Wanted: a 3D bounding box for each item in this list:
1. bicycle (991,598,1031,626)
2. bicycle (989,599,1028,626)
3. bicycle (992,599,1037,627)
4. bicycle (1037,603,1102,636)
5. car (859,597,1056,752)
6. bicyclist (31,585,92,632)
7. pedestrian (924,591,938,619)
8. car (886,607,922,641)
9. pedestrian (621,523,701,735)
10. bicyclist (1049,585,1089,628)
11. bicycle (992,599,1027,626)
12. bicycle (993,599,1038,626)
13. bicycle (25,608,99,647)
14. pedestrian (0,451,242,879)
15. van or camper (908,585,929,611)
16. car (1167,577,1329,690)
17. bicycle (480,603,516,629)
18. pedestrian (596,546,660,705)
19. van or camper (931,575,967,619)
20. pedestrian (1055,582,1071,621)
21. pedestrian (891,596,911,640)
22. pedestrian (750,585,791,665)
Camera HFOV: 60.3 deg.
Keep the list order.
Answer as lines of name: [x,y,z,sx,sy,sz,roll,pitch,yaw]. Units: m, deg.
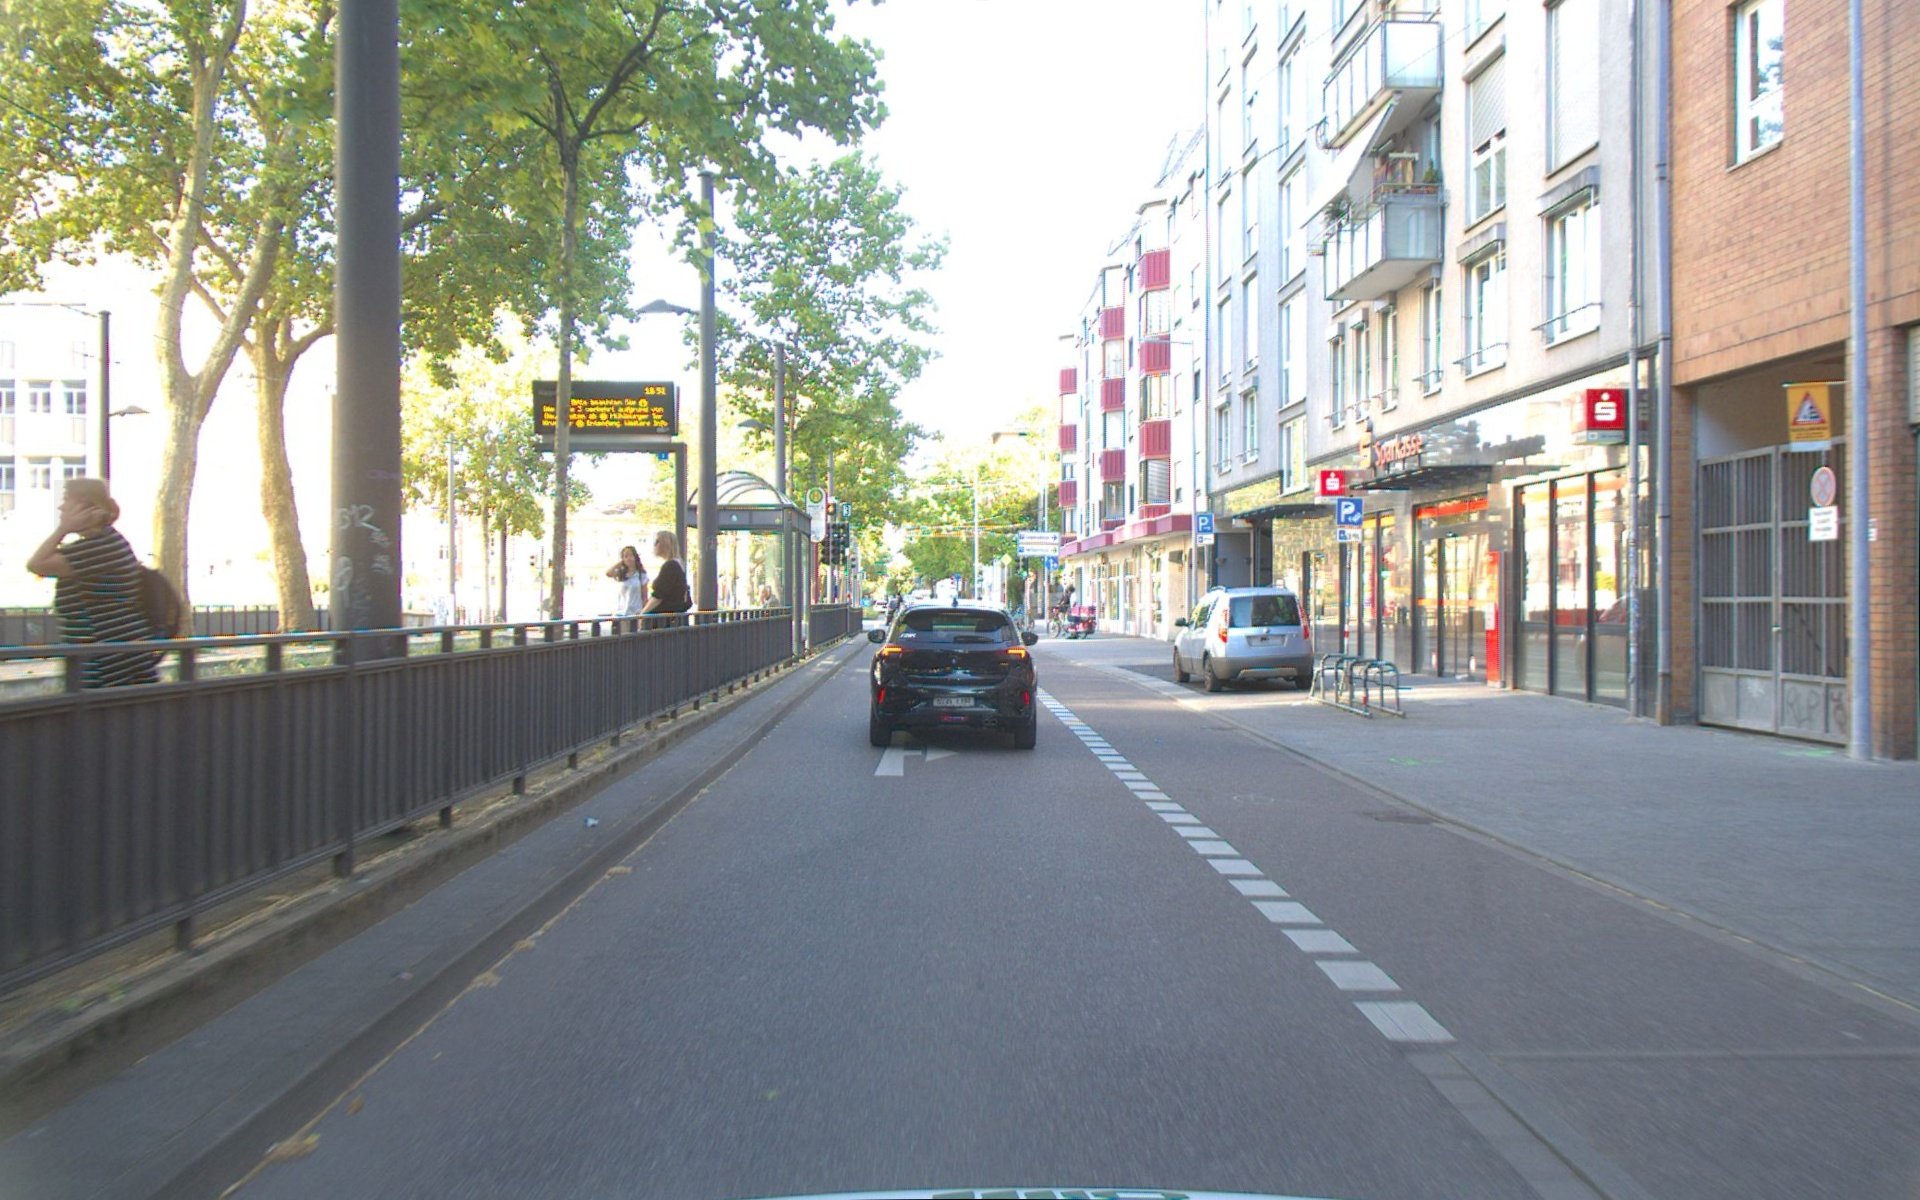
bicycle: [2.290,0.532,74.088,1.793,1.242,0.496,0,0,1]
bicycle: [2.230,0.574,75.402,1.764,1.220,0.546,0,-1,2]
bicycle: [2.405,0.556,73.244,1.939,1.220,0.590,0,0,-7]
bicycle: [4.030,0.708,61.027,0.954,1.204,2.561,0,0,-39]
car: [-0.068,0.706,17.816,1.866,1.450,4.214,0,0,-1]
bicyclist: [-25.029,0.231,46.089,0.984,1.272,1.373,1,0,-4]
pedestrian: [-2.121,0.359,120.556,1.015,2.059,1.212,0,0,-3]
car: [-2.946,1.231,87.997,1.796,1.651,4.283,3,0,-1]
pedestrian: [-2.771,0.262,15.385,0.633,1.920,0.661,0,0,-2]
bicyclist: [4.022,0.220,61.049,1.050,1.567,1.064,0,0,-39]
bicycle: [2.225,0.551,74.656,1.589,1.220,0.496,0,0,2]
bicycle: [2.422,0.560,72.586,1.902,1.191,0.571,0,0,-5]
bicycle: [-25.013,0.752,46.146,0.784,1.014,2.583,1,0,-4]
pedestrian: [-3.669,0.261,7.159,0.714,1.732,0.863,1,0,0]
van or camper: [-5.078,-0.224,203.272,2.436,3.046,5.432,2,0,-1]
car: [4.692,0.509,27.535,1.796,1.651,4.283,-3,0,-1]
bicycle: [-17.657,0.593,63.194,0.796,0.962,1.726,0,0,4]
pedestrian: [-4.055,0.307,20.242,0.632,1.904,0.753,0,0,-1]
van or camper: [-0.915,-0.230,129.662,2.328,3.179,7.546,-3,0,-3]
pedestrian: [5.119,0.064,81.921,0.708,1.890,0.800,0,0,-3]
pedestrian: [-2.418,0.747,67.774,0.719,1.777,0.712,0,0,3]
pedestrian: [-3.203,0.417,27.967,0.613,1.342,0.801,0,0,-1]
